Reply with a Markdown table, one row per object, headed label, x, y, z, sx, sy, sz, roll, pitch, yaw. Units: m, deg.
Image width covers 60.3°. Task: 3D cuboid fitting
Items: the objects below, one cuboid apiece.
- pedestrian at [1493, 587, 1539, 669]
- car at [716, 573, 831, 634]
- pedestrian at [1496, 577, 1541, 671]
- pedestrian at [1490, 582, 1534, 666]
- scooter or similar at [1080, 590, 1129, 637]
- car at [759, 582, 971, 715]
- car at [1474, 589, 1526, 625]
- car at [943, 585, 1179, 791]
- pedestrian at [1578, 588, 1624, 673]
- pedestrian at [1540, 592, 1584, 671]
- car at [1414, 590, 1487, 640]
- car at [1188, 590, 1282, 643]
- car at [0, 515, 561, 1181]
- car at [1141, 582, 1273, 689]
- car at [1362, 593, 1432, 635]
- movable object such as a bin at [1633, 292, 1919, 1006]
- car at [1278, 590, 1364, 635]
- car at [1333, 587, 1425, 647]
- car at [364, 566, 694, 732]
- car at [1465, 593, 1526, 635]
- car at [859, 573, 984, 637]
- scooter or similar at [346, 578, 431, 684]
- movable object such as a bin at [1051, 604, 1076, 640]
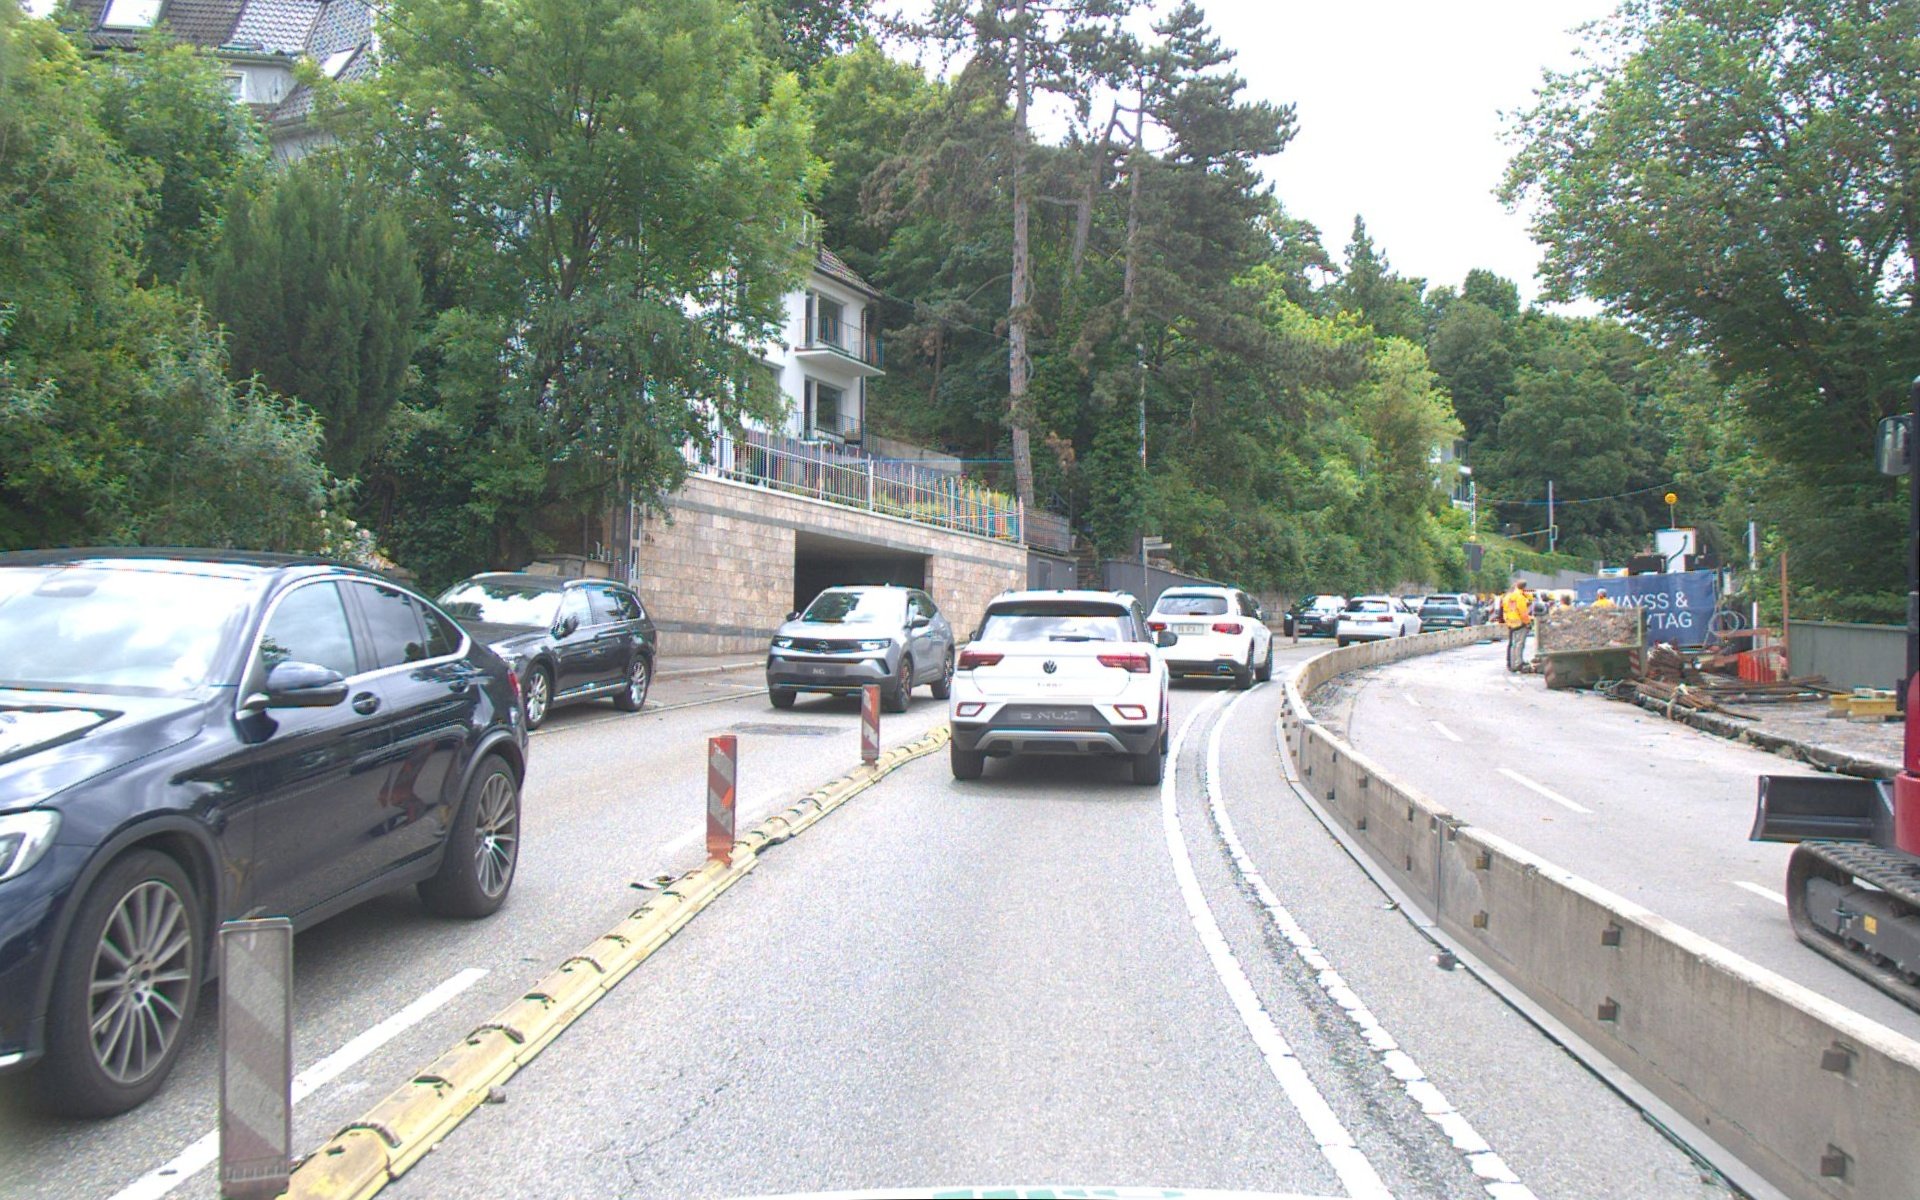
| label | x | y | z | sx | sy | sz | roll | pitch | yaw |
| --- | --- | --- | --- | --- | --- | --- | --- | --- | --- |
| pedestrian | 12.087 | 0.591 | 35.982 | 0.857 | 1.761 | 0.879 | 0 | 0 | 14 |
| car | -4.834 | 0.119 | 43.353 | 1.733 | 1.444 | 3.547 | 2 | -1 | 16 |
| pedestrian | 11.796 | 0.498 | 34.950 | 0.676 | 1.940 | 0.826 | 0 | 0 | 2 |
| pedestrian | 12.331 | 0.525 | 36.992 | 0.857 | 1.854 | 0.879 | 0 | 0 | 14 |
| scooter or similar | 3.979 | 0.373 | 45.651 | 1.281 | 1.277 | 0.467 | 1 | 0 | 0 |
| car | -1.148 | 0.575 | 21.955 | 1.730 | 1.544 | 4.029 | 2 | 0 | 13 |
| car | 25.863 | 0.328 | 79.178 | 1.774 | 1.692 | 3.995 | 0 | 0 | 27 |
| car | 1.040 | 0.683 | 14.883 | 1.771 | 1.558 | 4.003 | 1 | 0 | 8 |
| pedestrian | 13.247 | 0.617 | 34.161 | 0.768 | 1.717 | 0.784 | 0 | 0 | 30 |
| pedestrian | 12.648 | 0.657 | 34.752 | 0.768 | 1.636 | 0.666 | 0 | 0 | 30 |
| car | 17.385 | 0.492 | 58.534 | 1.774 | 1.692 | 3.995 | 0 | 0 | 27 |
| car | 8.097 | 0.454 | 48.370 | 1.732 | 1.460 | 4.307 | 1 | 0 | 23 |
| car | -2.989 | 0.561 | 6.003 | 1.730 | 1.595 | 4.232 | 2 | 0 | 4 |
| car | 4.300 | 0.551 | 28.338 | 1.771 | 1.692 | 4.003 | 0 | 0 | 15 |
| car | 17.008 | 0.523 | 64.239 | 1.733 | 1.477 | 4.303 | 2 | 1 | 27 |
| movable object such as a bin | 4.991 | 0.193 | 7.879 | 2.164 | 2.709 | 4.949 | 1 | 0 | 9 |
| car | 12.580 | 0.421 | 57.493 | 1.734 | 1.460 | 4.302 | 2 | 1 | 29 |
| car | 12.317 | 0.462 | 48.460 | 1.774 | 1.692 | 3.995 | 0 | 0 | 27 |
| car | -4.553 | 0.471 | 18.306 | 1.699 | 1.476 | 4.687 | 4 | 0 | 9 |
| car | 22.255 | 0.549 | 68.668 | 1.774 | 1.692 | 3.995 | 0 | 0 | 27 |
| car | -0.934 | 0.147 | 42.662 | 1.746 | 1.478 | 3.700 | 2 | -2 | 24 |
| scooter or similar | -7.067 | 0.378 | 20.482 | 0.407 | 1.253 | 1.122 | 3 | 0 | 12 |
| movable object such as a bin | 2.921 | 0.617 | 46.630 | 0.538 | 0.994 | 0.509 | 0 | -1 | 27 |
